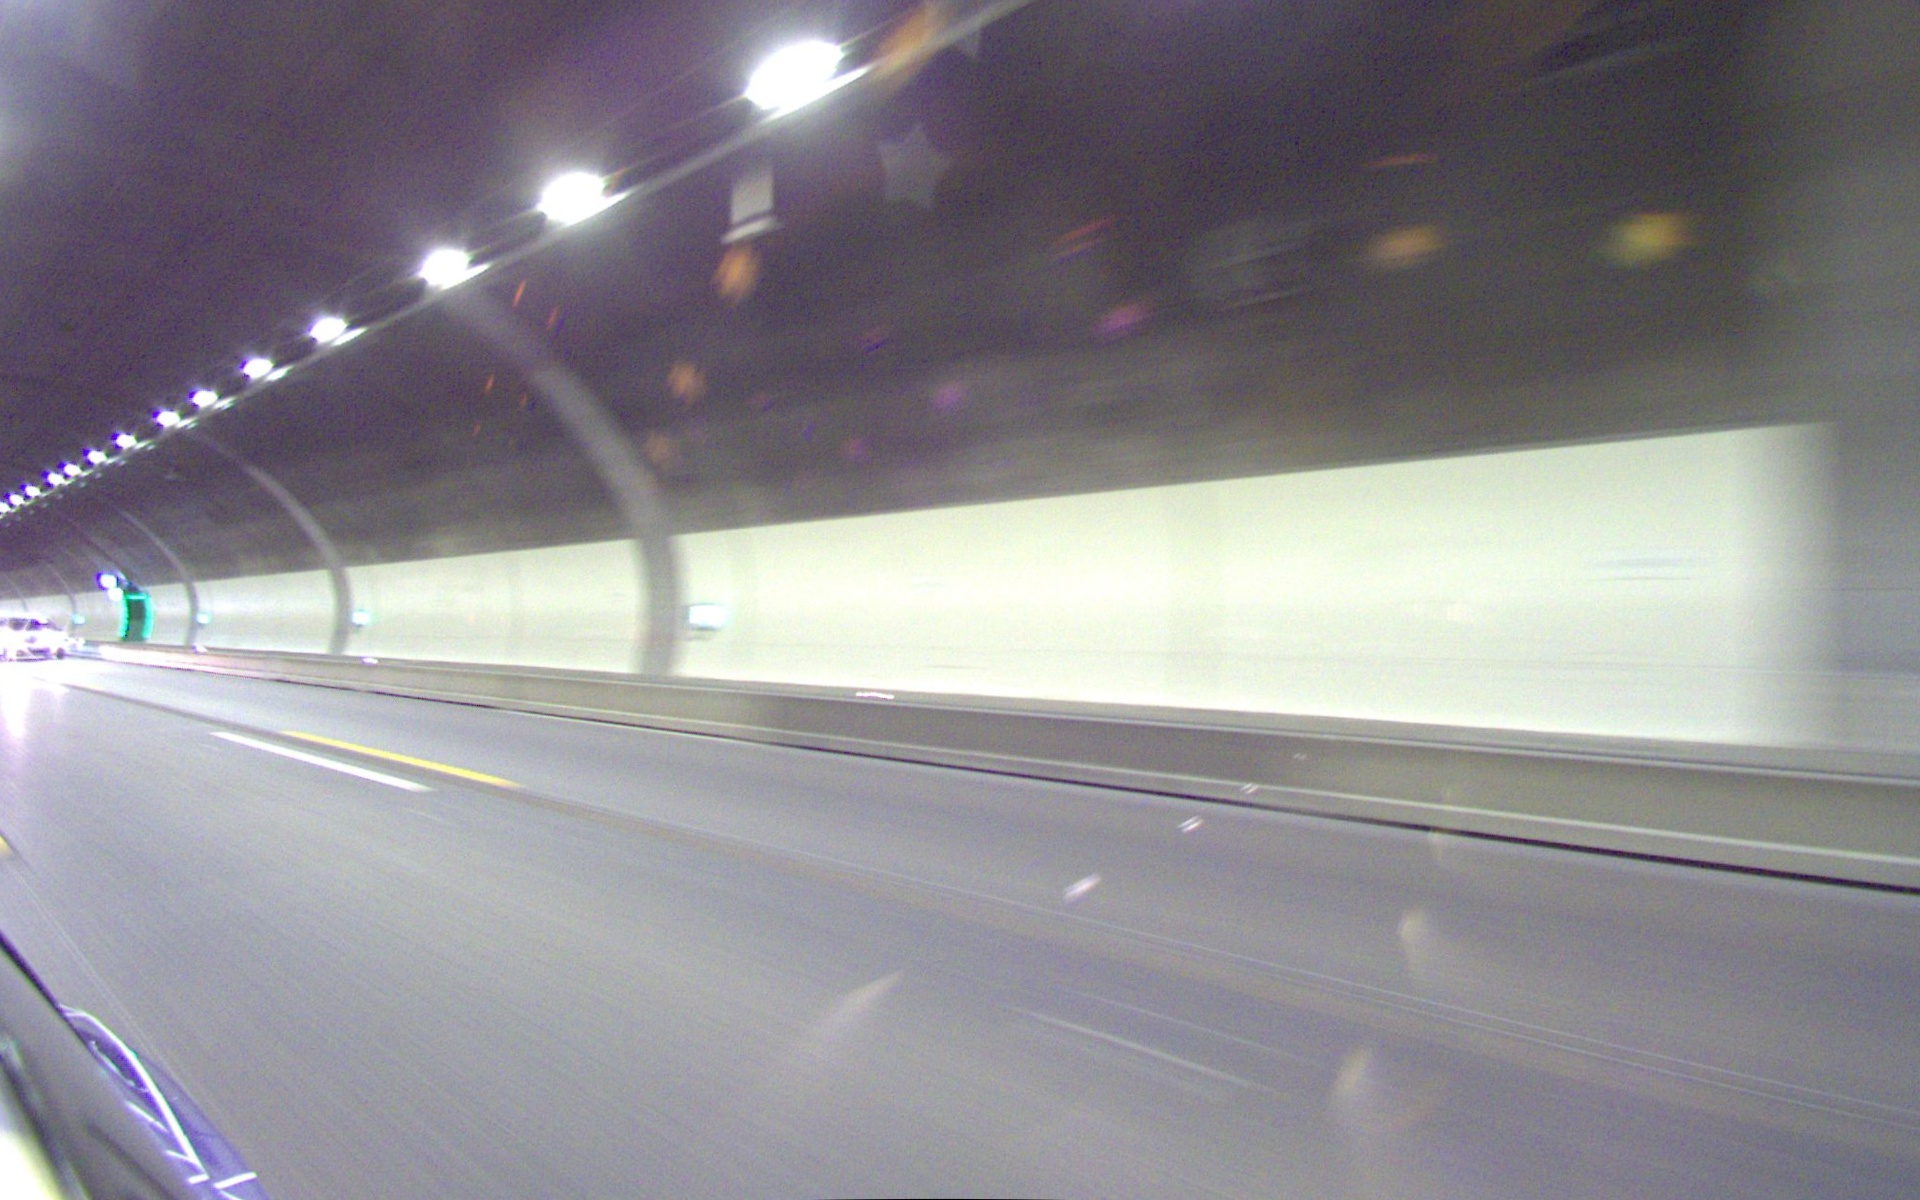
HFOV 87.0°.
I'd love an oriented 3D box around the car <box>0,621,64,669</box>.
[{"bbox_3d":[-33.772,1.566,36.389,4.094,1.584,1.744,-1,-1,40],"label":"car"}]
